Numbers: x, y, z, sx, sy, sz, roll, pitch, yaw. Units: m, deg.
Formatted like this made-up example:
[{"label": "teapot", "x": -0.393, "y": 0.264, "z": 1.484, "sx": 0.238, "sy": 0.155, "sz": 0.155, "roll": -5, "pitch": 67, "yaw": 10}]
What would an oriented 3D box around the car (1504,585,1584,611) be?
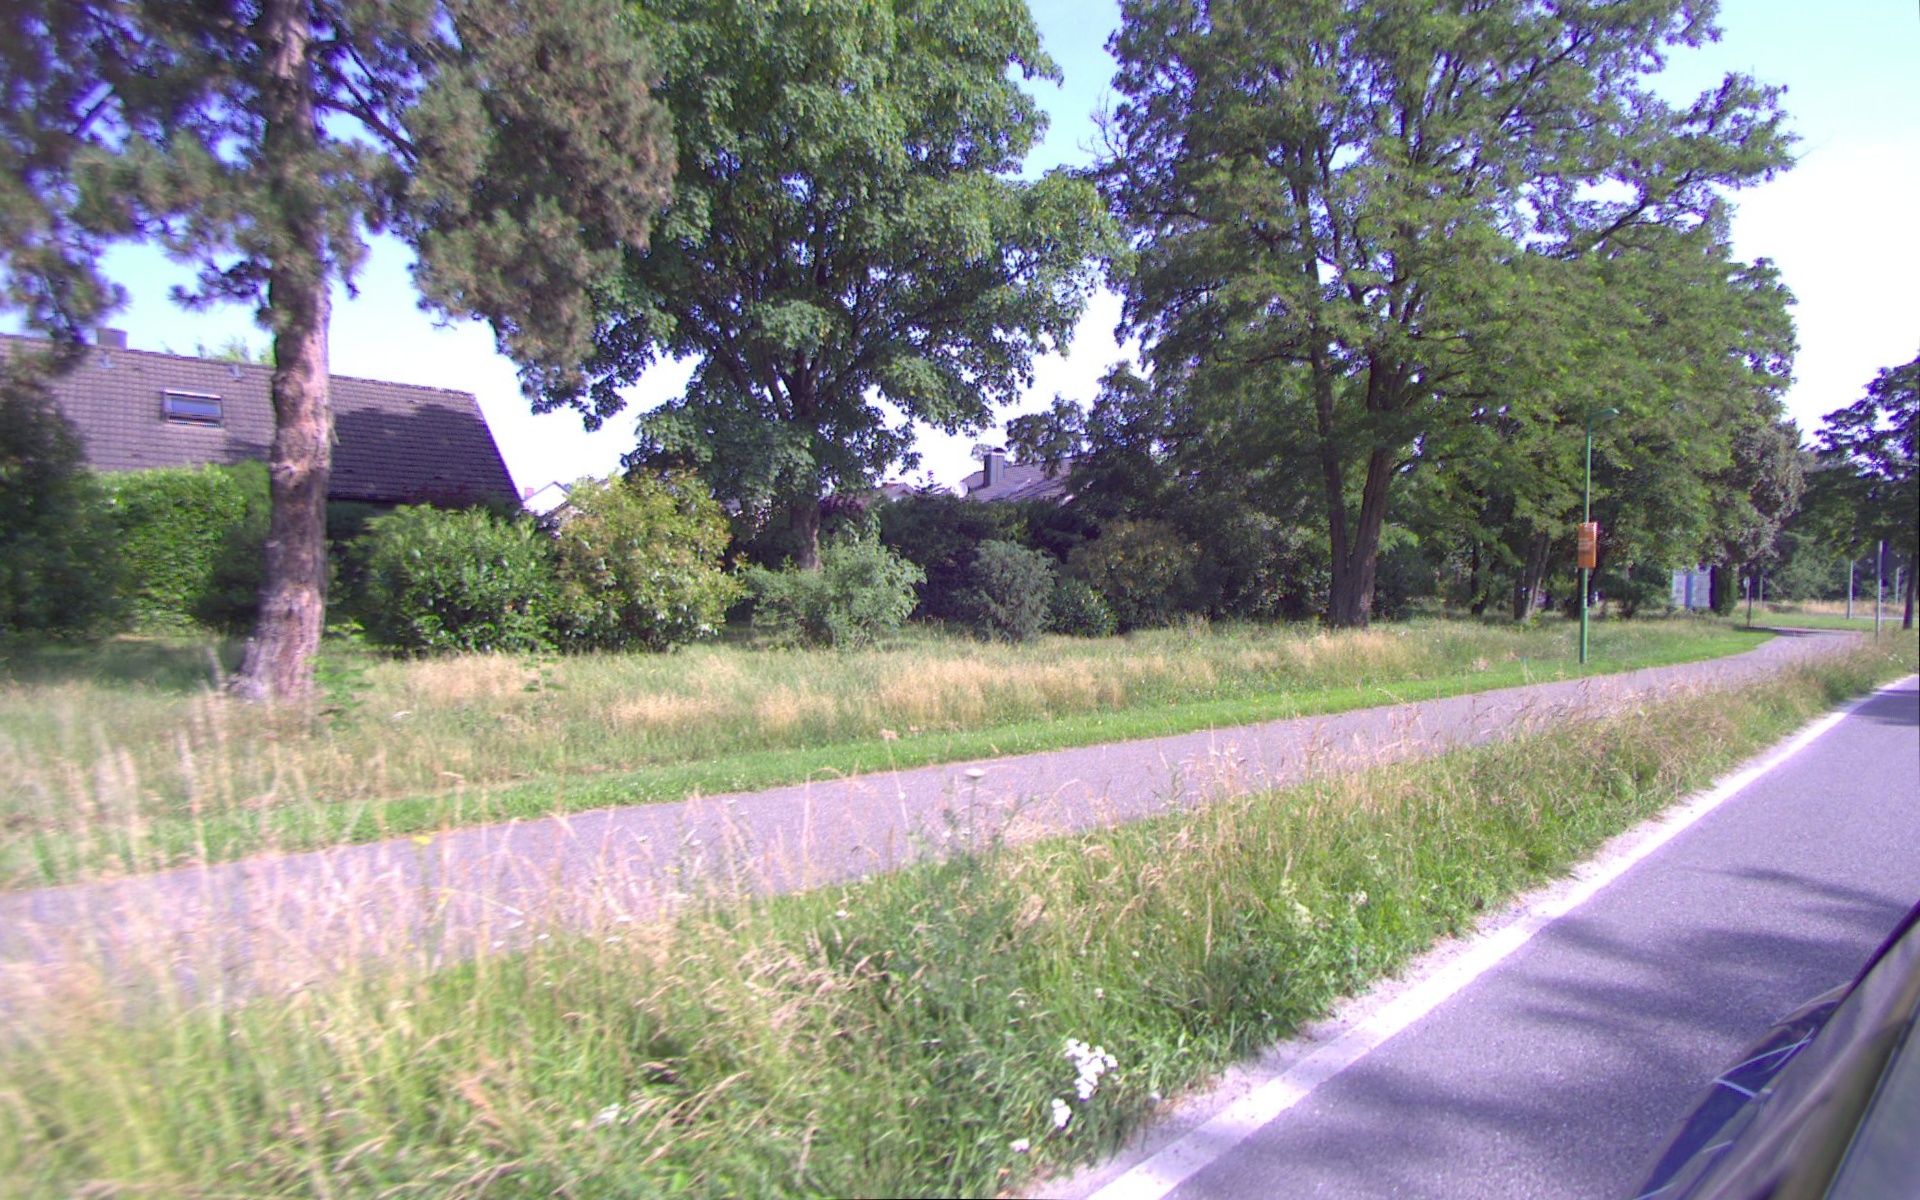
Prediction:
[{"label": "car", "x": 36.590, "y": -0.157, "z": 63.404, "sx": 4.115, "sy": 1.569, "sz": 1.876, "roll": 1, "pitch": 1, "yaw": 39}]
